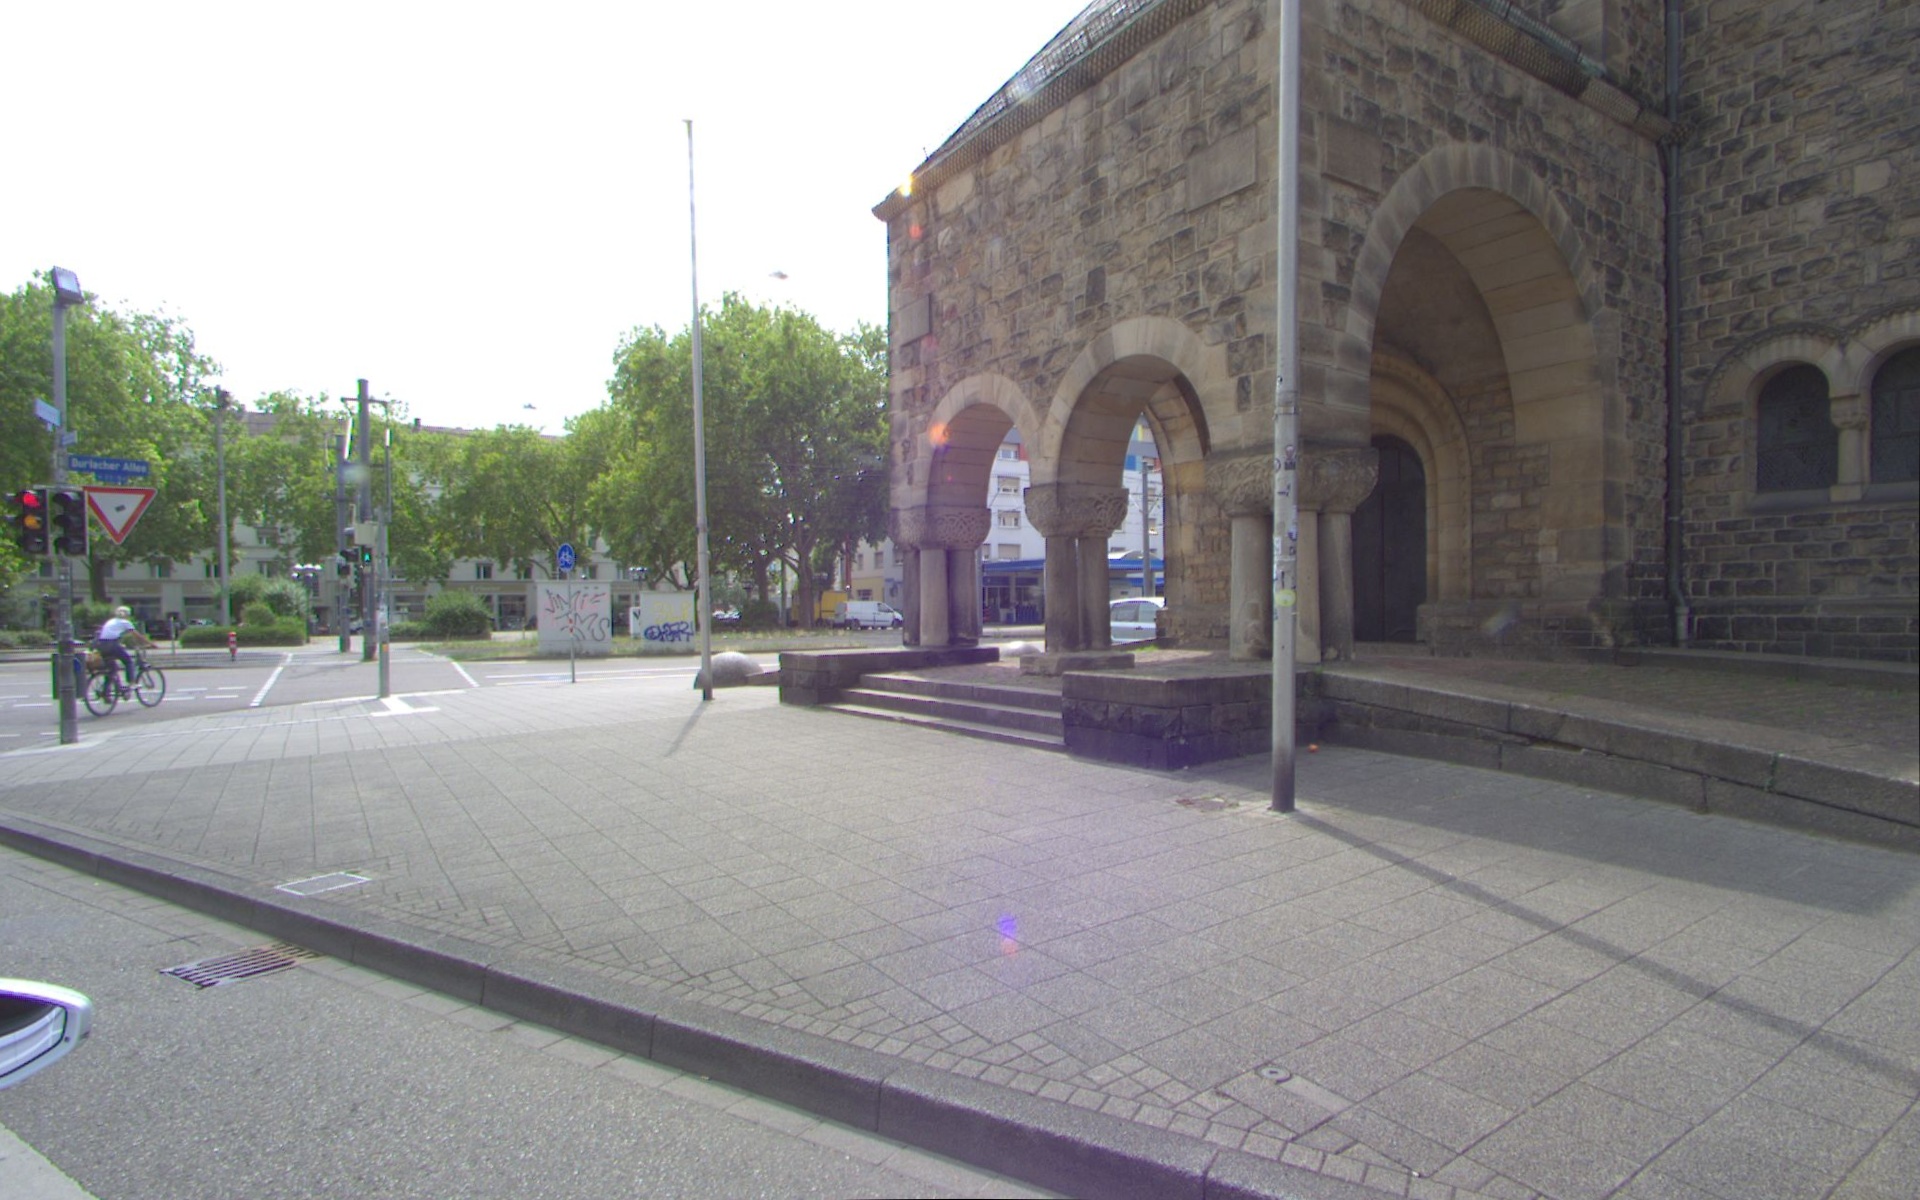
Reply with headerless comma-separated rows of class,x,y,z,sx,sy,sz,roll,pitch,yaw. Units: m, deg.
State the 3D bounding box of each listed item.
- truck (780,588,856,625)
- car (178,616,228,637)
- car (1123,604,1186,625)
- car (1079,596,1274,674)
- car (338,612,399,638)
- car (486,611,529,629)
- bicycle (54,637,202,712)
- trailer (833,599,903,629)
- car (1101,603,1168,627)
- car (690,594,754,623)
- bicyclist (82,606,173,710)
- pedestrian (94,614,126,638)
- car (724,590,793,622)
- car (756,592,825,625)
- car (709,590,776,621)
truck,-10.539,0.481,73.902,3.040,2.612,6.468,-1,0,-34
car,-56.962,1.962,75.346,3.949,1.523,1.986,-1,0,37
car,14.894,1.079,76.613,4.554,1.535,1.985,0,-1,-31
car,4.685,0.712,22.178,1.992,1.563,4.002,0,0,-33
car,-45.300,1.868,76.702,3.946,1.908,1.846,-1,0,-34
car,-39.525,1.765,87.363,3.949,1.523,1.760,-1,0,37
bicycle,-13.946,1.217,16.870,0.888,1.089,1.969,0,1,-3
trailer,-6.191,0.896,67.602,4.377,1.951,1.843,0,0,-33
car,10.862,0.903,62.300,3.942,1.418,1.617,0,-1,-30
car,-21.995,0.811,92.689,5.269,2.618,2.482,0,-1,-36
bicyclist,-13.937,0.955,16.785,0.889,1.706,0.757,0,0,-3
pedestrian,-48.037,1.467,56.593,1.422,1.252,1.087,-1,1,37
car,-17.295,0.520,86.193,5.269,2.618,2.482,0,-1,-36
car,-14.066,0.691,83.277,5.269,2.618,2.165,0,-1,-36
car,-19.199,0.526,88.422,5.269,2.618,2.482,0,-1,-36
